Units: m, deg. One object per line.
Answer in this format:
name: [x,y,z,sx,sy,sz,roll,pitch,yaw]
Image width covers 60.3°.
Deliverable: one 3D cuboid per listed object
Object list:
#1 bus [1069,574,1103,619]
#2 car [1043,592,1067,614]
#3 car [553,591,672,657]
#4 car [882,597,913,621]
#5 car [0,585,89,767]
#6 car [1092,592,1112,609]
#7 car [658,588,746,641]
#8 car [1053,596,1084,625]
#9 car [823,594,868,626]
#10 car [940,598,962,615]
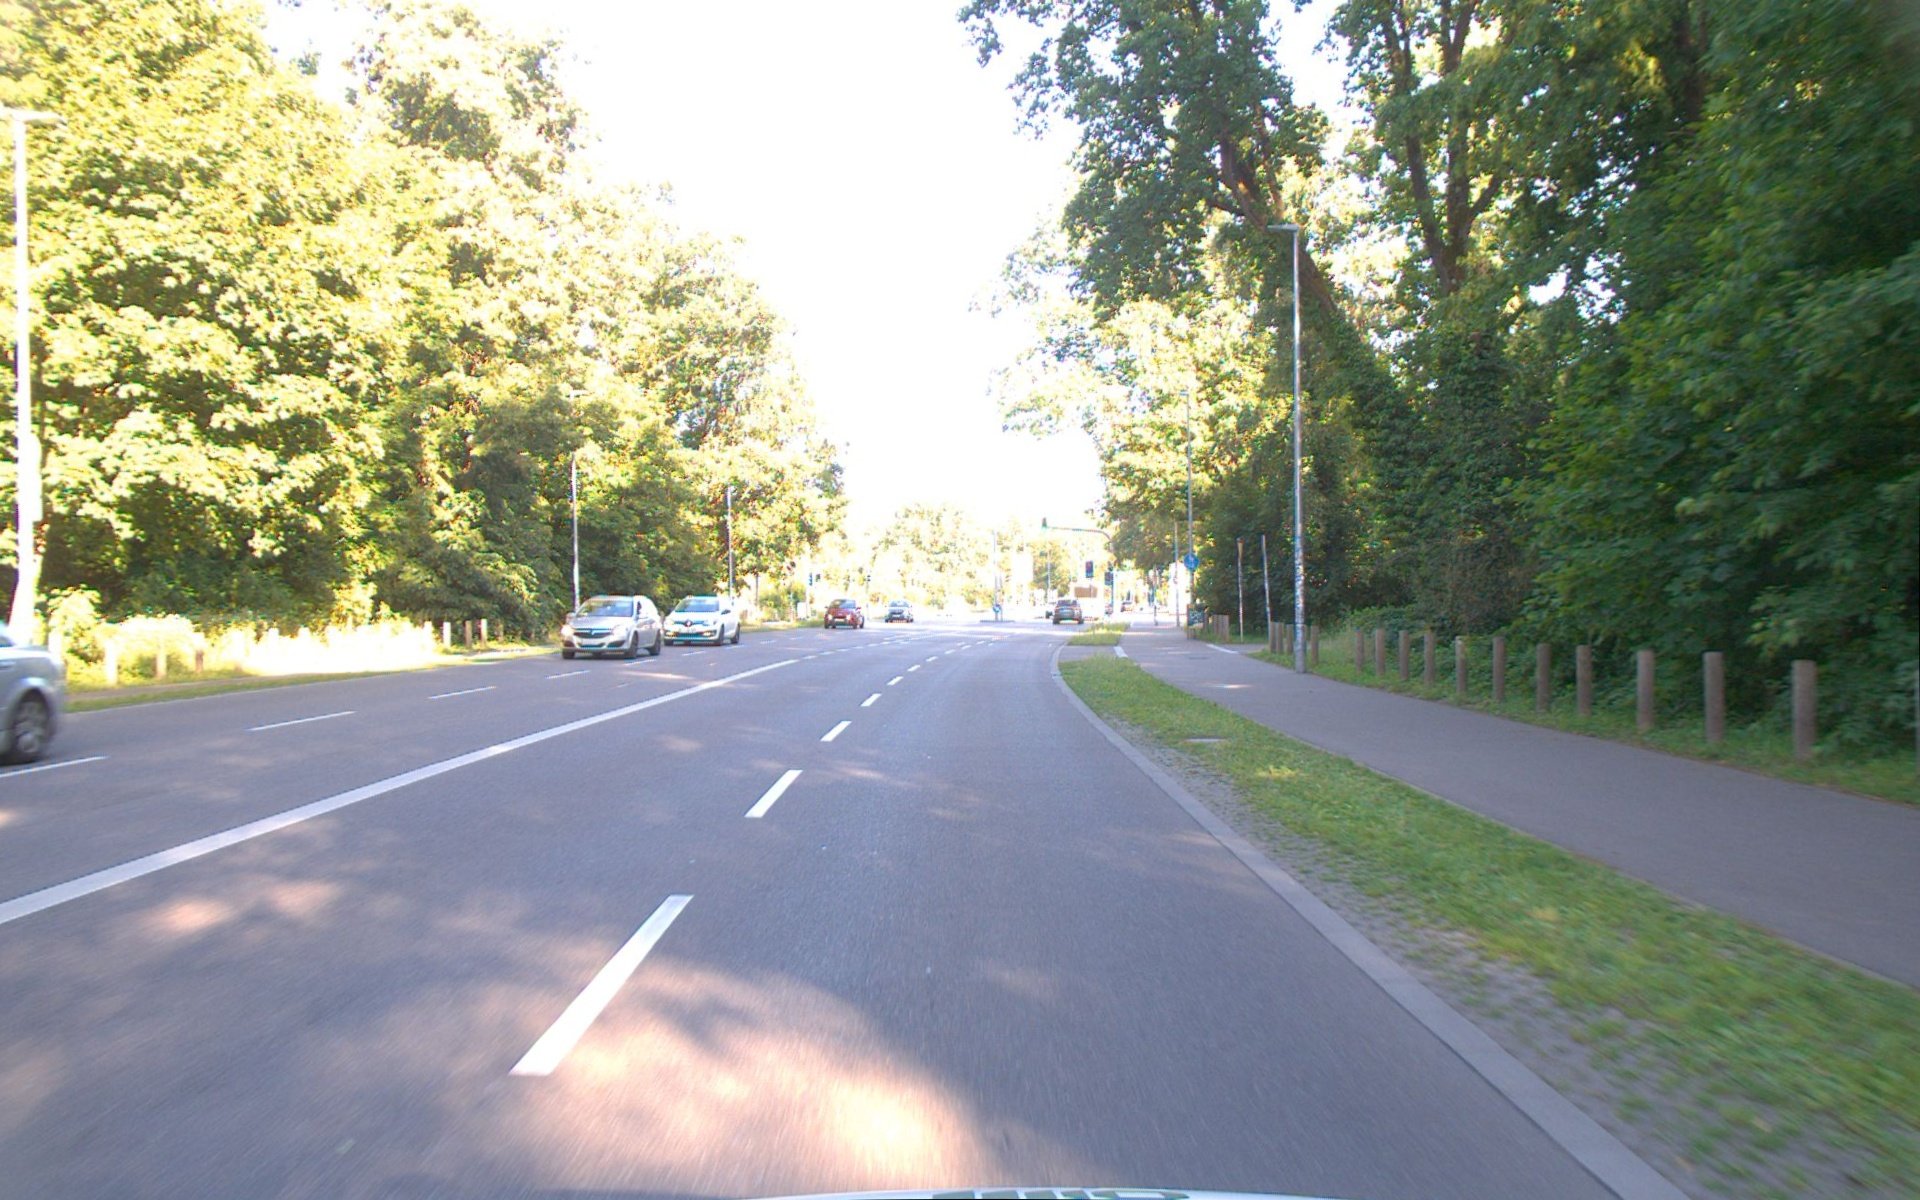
bus: [10.061,-0.313,131.571,2.550,3.427,7.981,0,0,6]
car: [8.253,0.247,143.811,1.840,1.796,4.003,-1,0,6]
car: [-8.307,0.553,39.876,1.742,1.489,4.276,1,0,3]
car: [-4.181,0.566,110.344,1.621,1.534,4.002,-1,0,4]
car: [-8.483,0.623,12.301,1.742,1.433,4.166,0,1,1]
car: [15.575,0.046,180.752,1.823,1.713,3.776,-1,0,10]
car: [-7.849,0.416,50.743,1.745,1.549,4.400,0,0,4]
car: [6.994,0.681,106.279,1.840,1.796,4.003,-1,0,6]
car: [-5.750,0.489,83.583,1.628,1.544,3.810,-1,0,6]
car: [-0.757,0.585,148.532,1.675,1.489,4.102,1,0,3]
